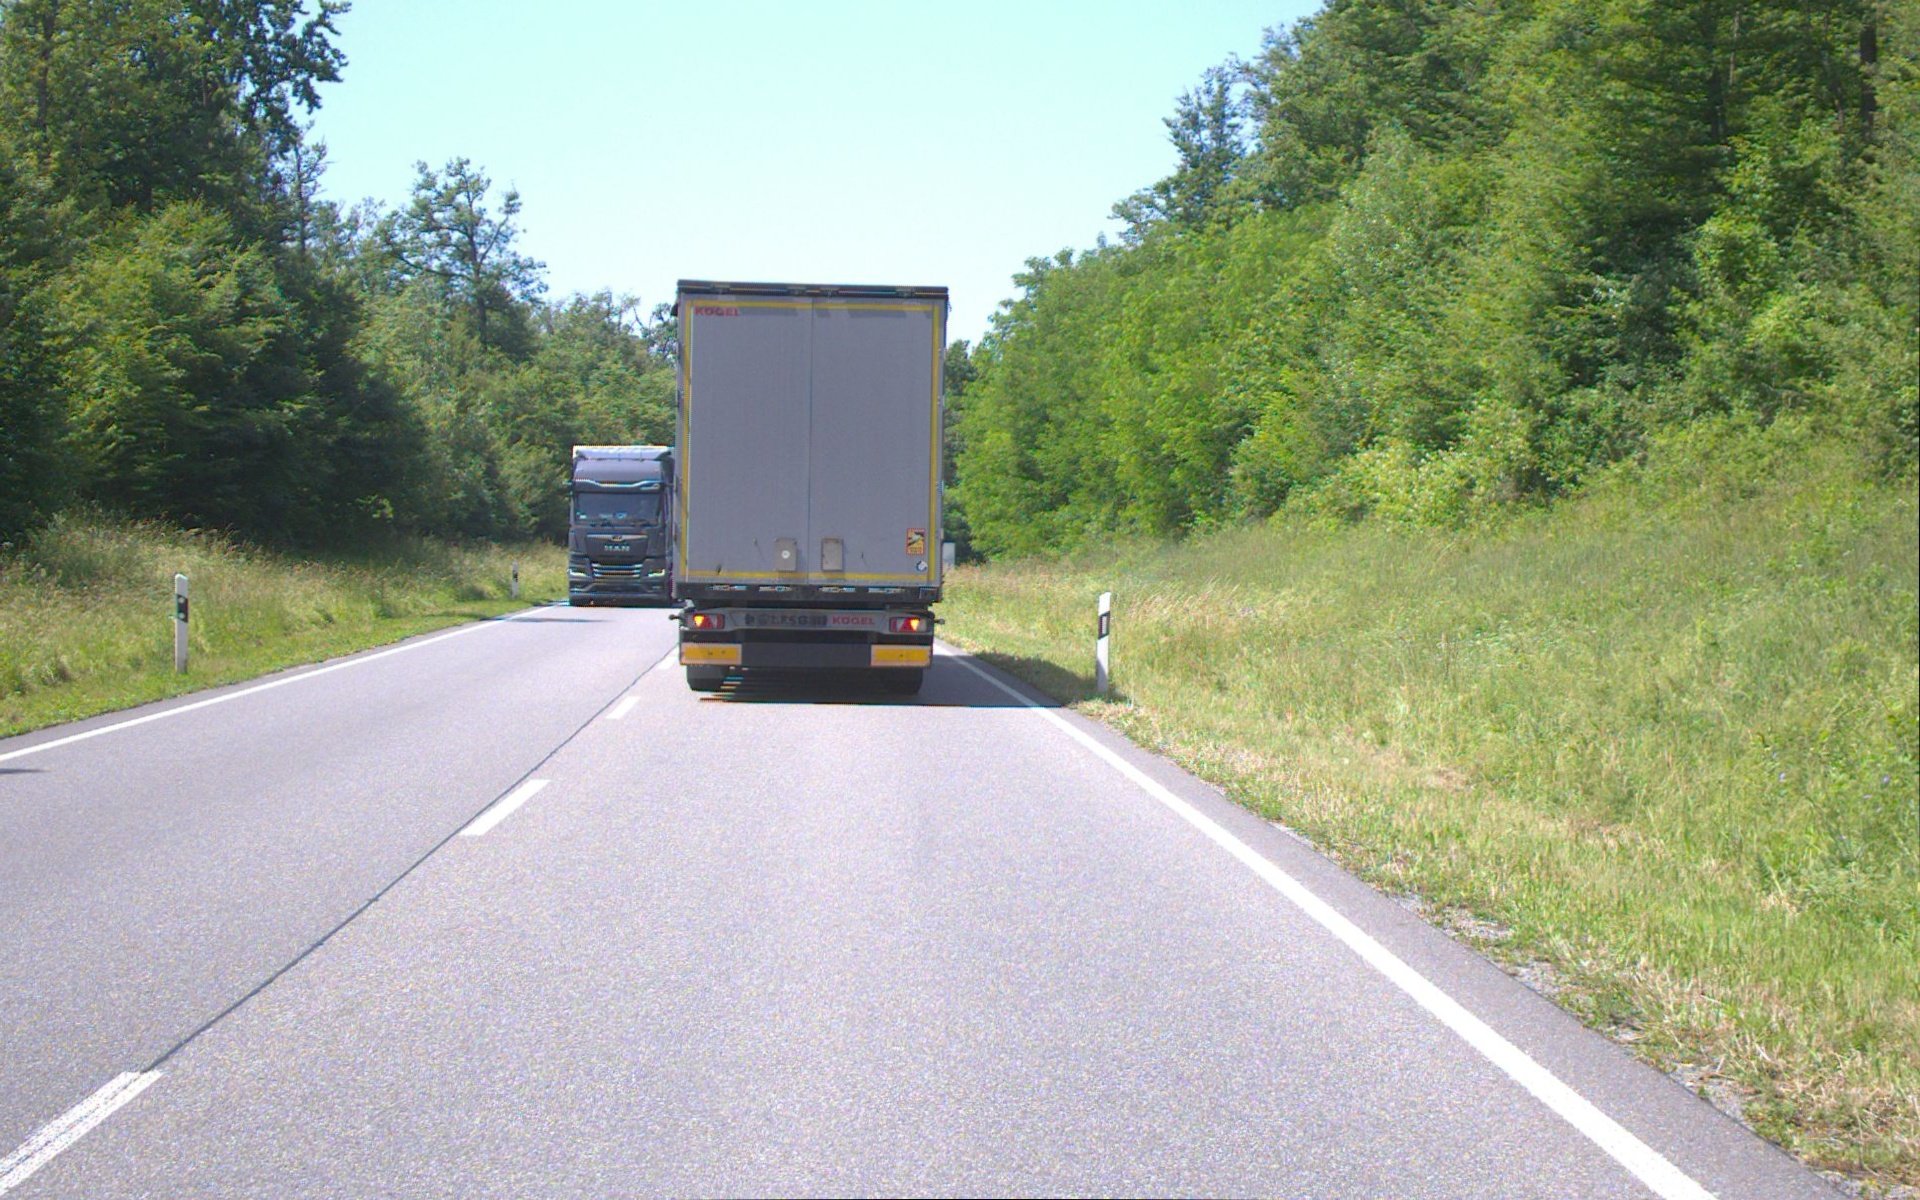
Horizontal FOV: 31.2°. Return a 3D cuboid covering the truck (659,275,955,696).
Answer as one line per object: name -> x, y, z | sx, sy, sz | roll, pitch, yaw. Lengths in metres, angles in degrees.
truck -> -1.716, -1.206, 38.443 | 2.761, 3.933, 12.199 | 0, 1, -3

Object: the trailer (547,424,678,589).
trailer -> -9.468, -2.538, 94.896 | 2.941, 4.238, 13.622 | 0, 1, -3

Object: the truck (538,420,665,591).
truck -> -9.078, -2.388, 87.567 | 2.922, 4.201, 5.344 | 0, 1, -3
